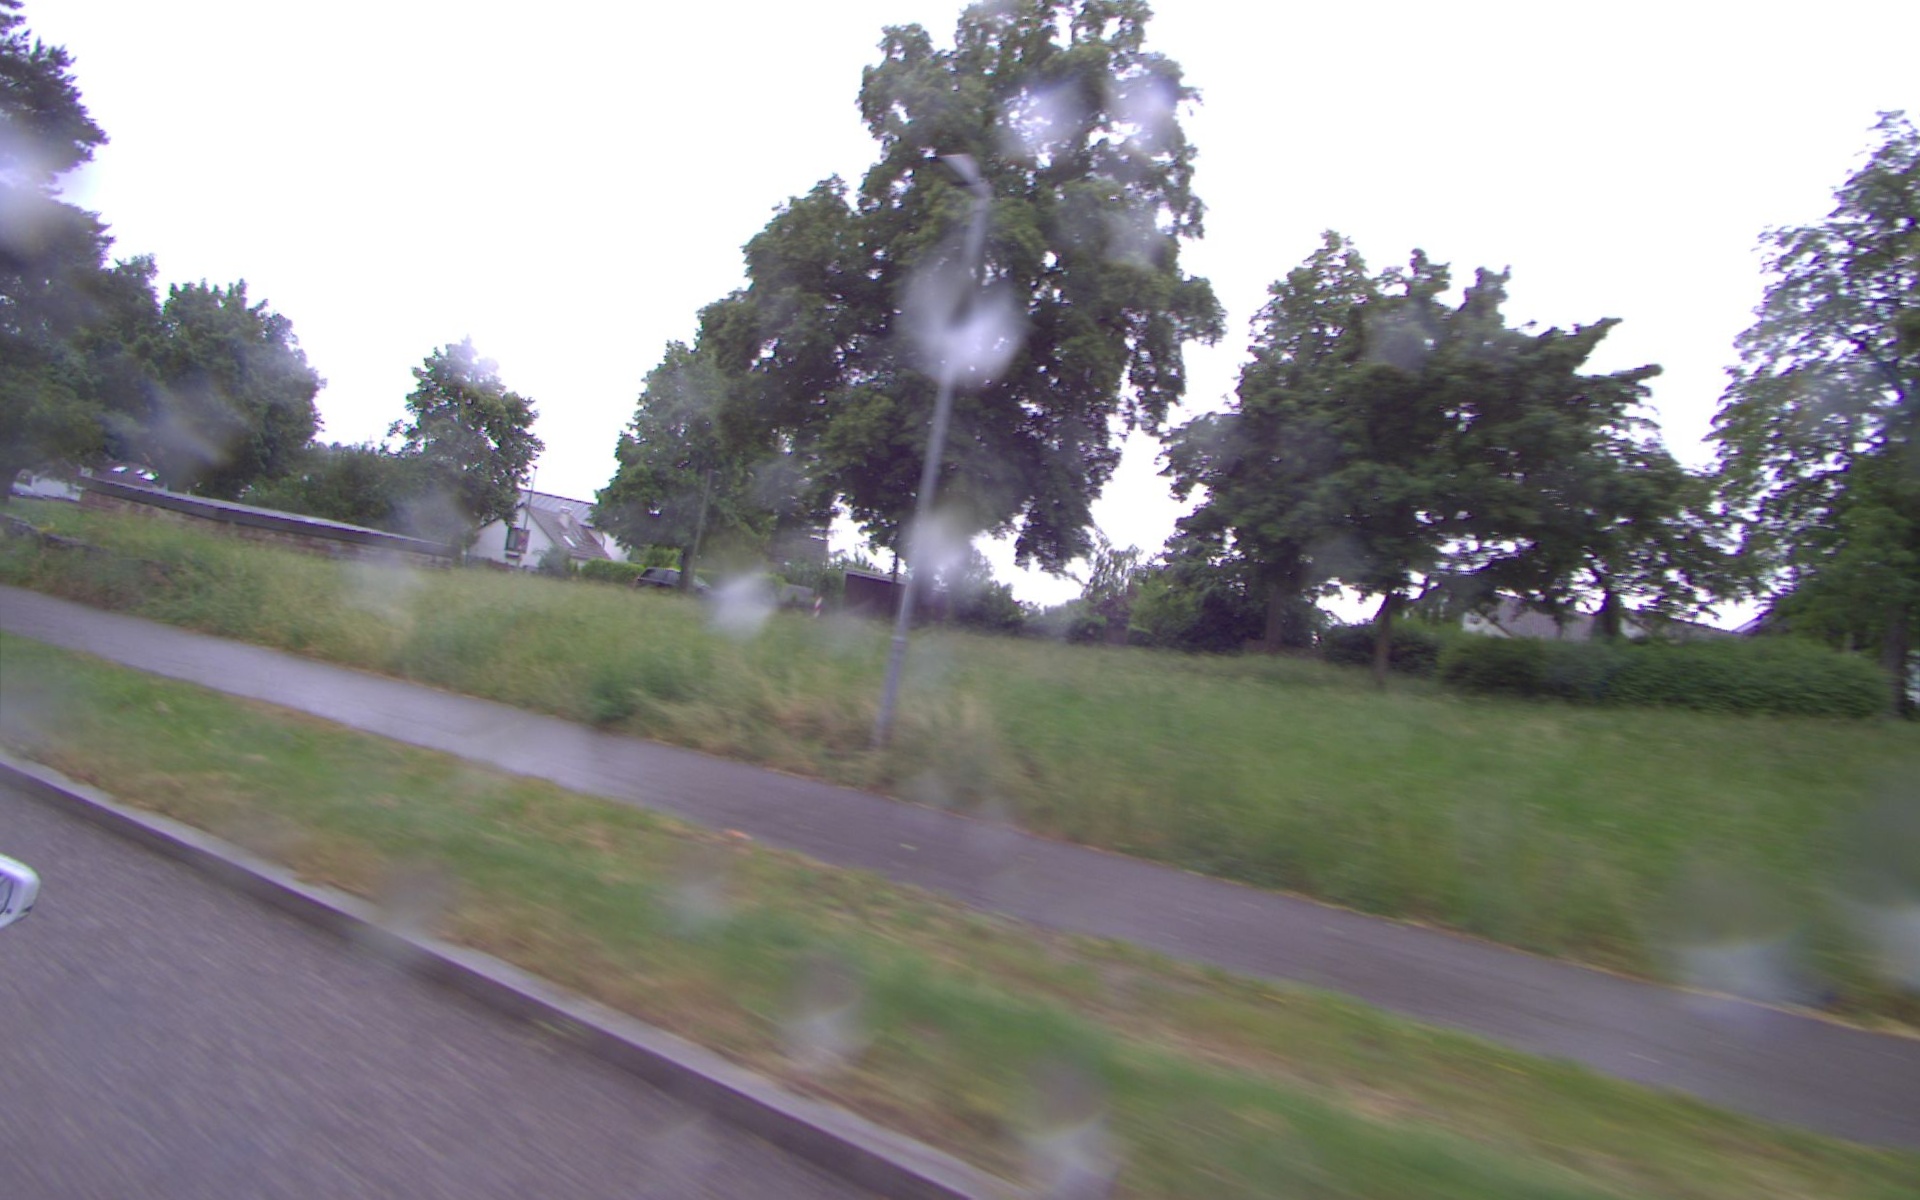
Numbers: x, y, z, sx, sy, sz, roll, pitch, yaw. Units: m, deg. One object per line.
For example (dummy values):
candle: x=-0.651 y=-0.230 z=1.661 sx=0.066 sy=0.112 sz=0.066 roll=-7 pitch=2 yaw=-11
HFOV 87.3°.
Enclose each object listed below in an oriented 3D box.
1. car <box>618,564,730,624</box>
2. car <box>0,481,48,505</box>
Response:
car: x=-11.014 y=-0.246 z=38.662 sx=3.933 sy=1.672 sz=1.829 roll=8 pitch=-1 yaw=32
car: x=-73.699 y=-8.420 z=78.768 sx=3.929 sy=1.483 sz=1.976 roll=7 pitch=2 yaw=26
